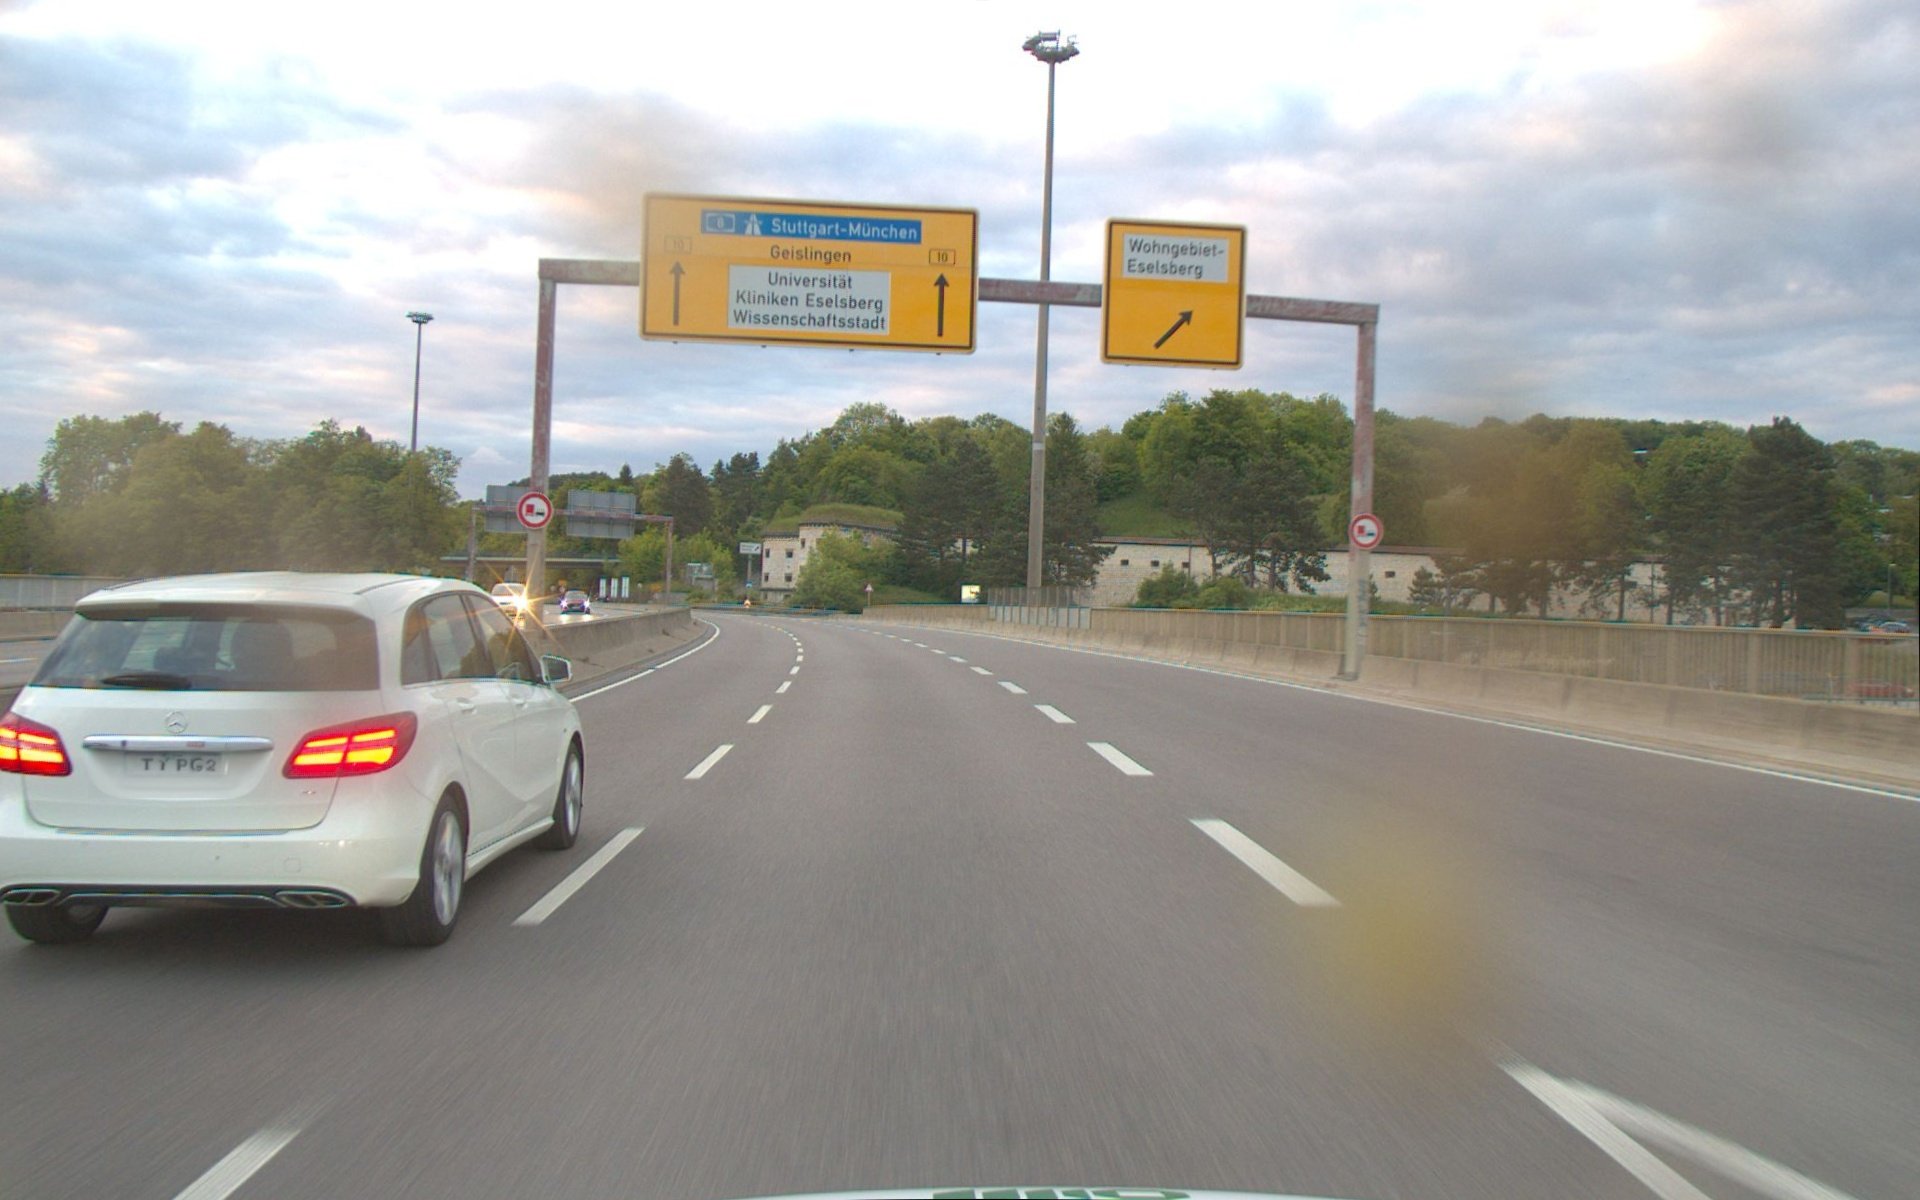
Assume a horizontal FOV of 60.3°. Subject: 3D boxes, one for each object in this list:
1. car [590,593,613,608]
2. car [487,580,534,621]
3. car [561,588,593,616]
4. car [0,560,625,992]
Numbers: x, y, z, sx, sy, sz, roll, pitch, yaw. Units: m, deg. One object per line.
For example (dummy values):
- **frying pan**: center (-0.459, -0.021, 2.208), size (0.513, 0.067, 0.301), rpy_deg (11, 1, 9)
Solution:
- **car**: center (-48.560, 0.060, 223.707), size (1.972, 1.870, 3.961), rpy_deg (2, -2, -29)
- **car**: center (-20.335, 0.015, 74.970), size (1.637, 1.763, 3.991), rpy_deg (1, 0, -10)
- **car**: center (-24.132, 0.118, 104.281), size (1.637, 1.671, 3.991), rpy_deg (1, 0, -10)
- **car**: center (-2.957, 0.652, 8.413), size (1.657, 1.564, 4.781), rpy_deg (1, 0, -2)
